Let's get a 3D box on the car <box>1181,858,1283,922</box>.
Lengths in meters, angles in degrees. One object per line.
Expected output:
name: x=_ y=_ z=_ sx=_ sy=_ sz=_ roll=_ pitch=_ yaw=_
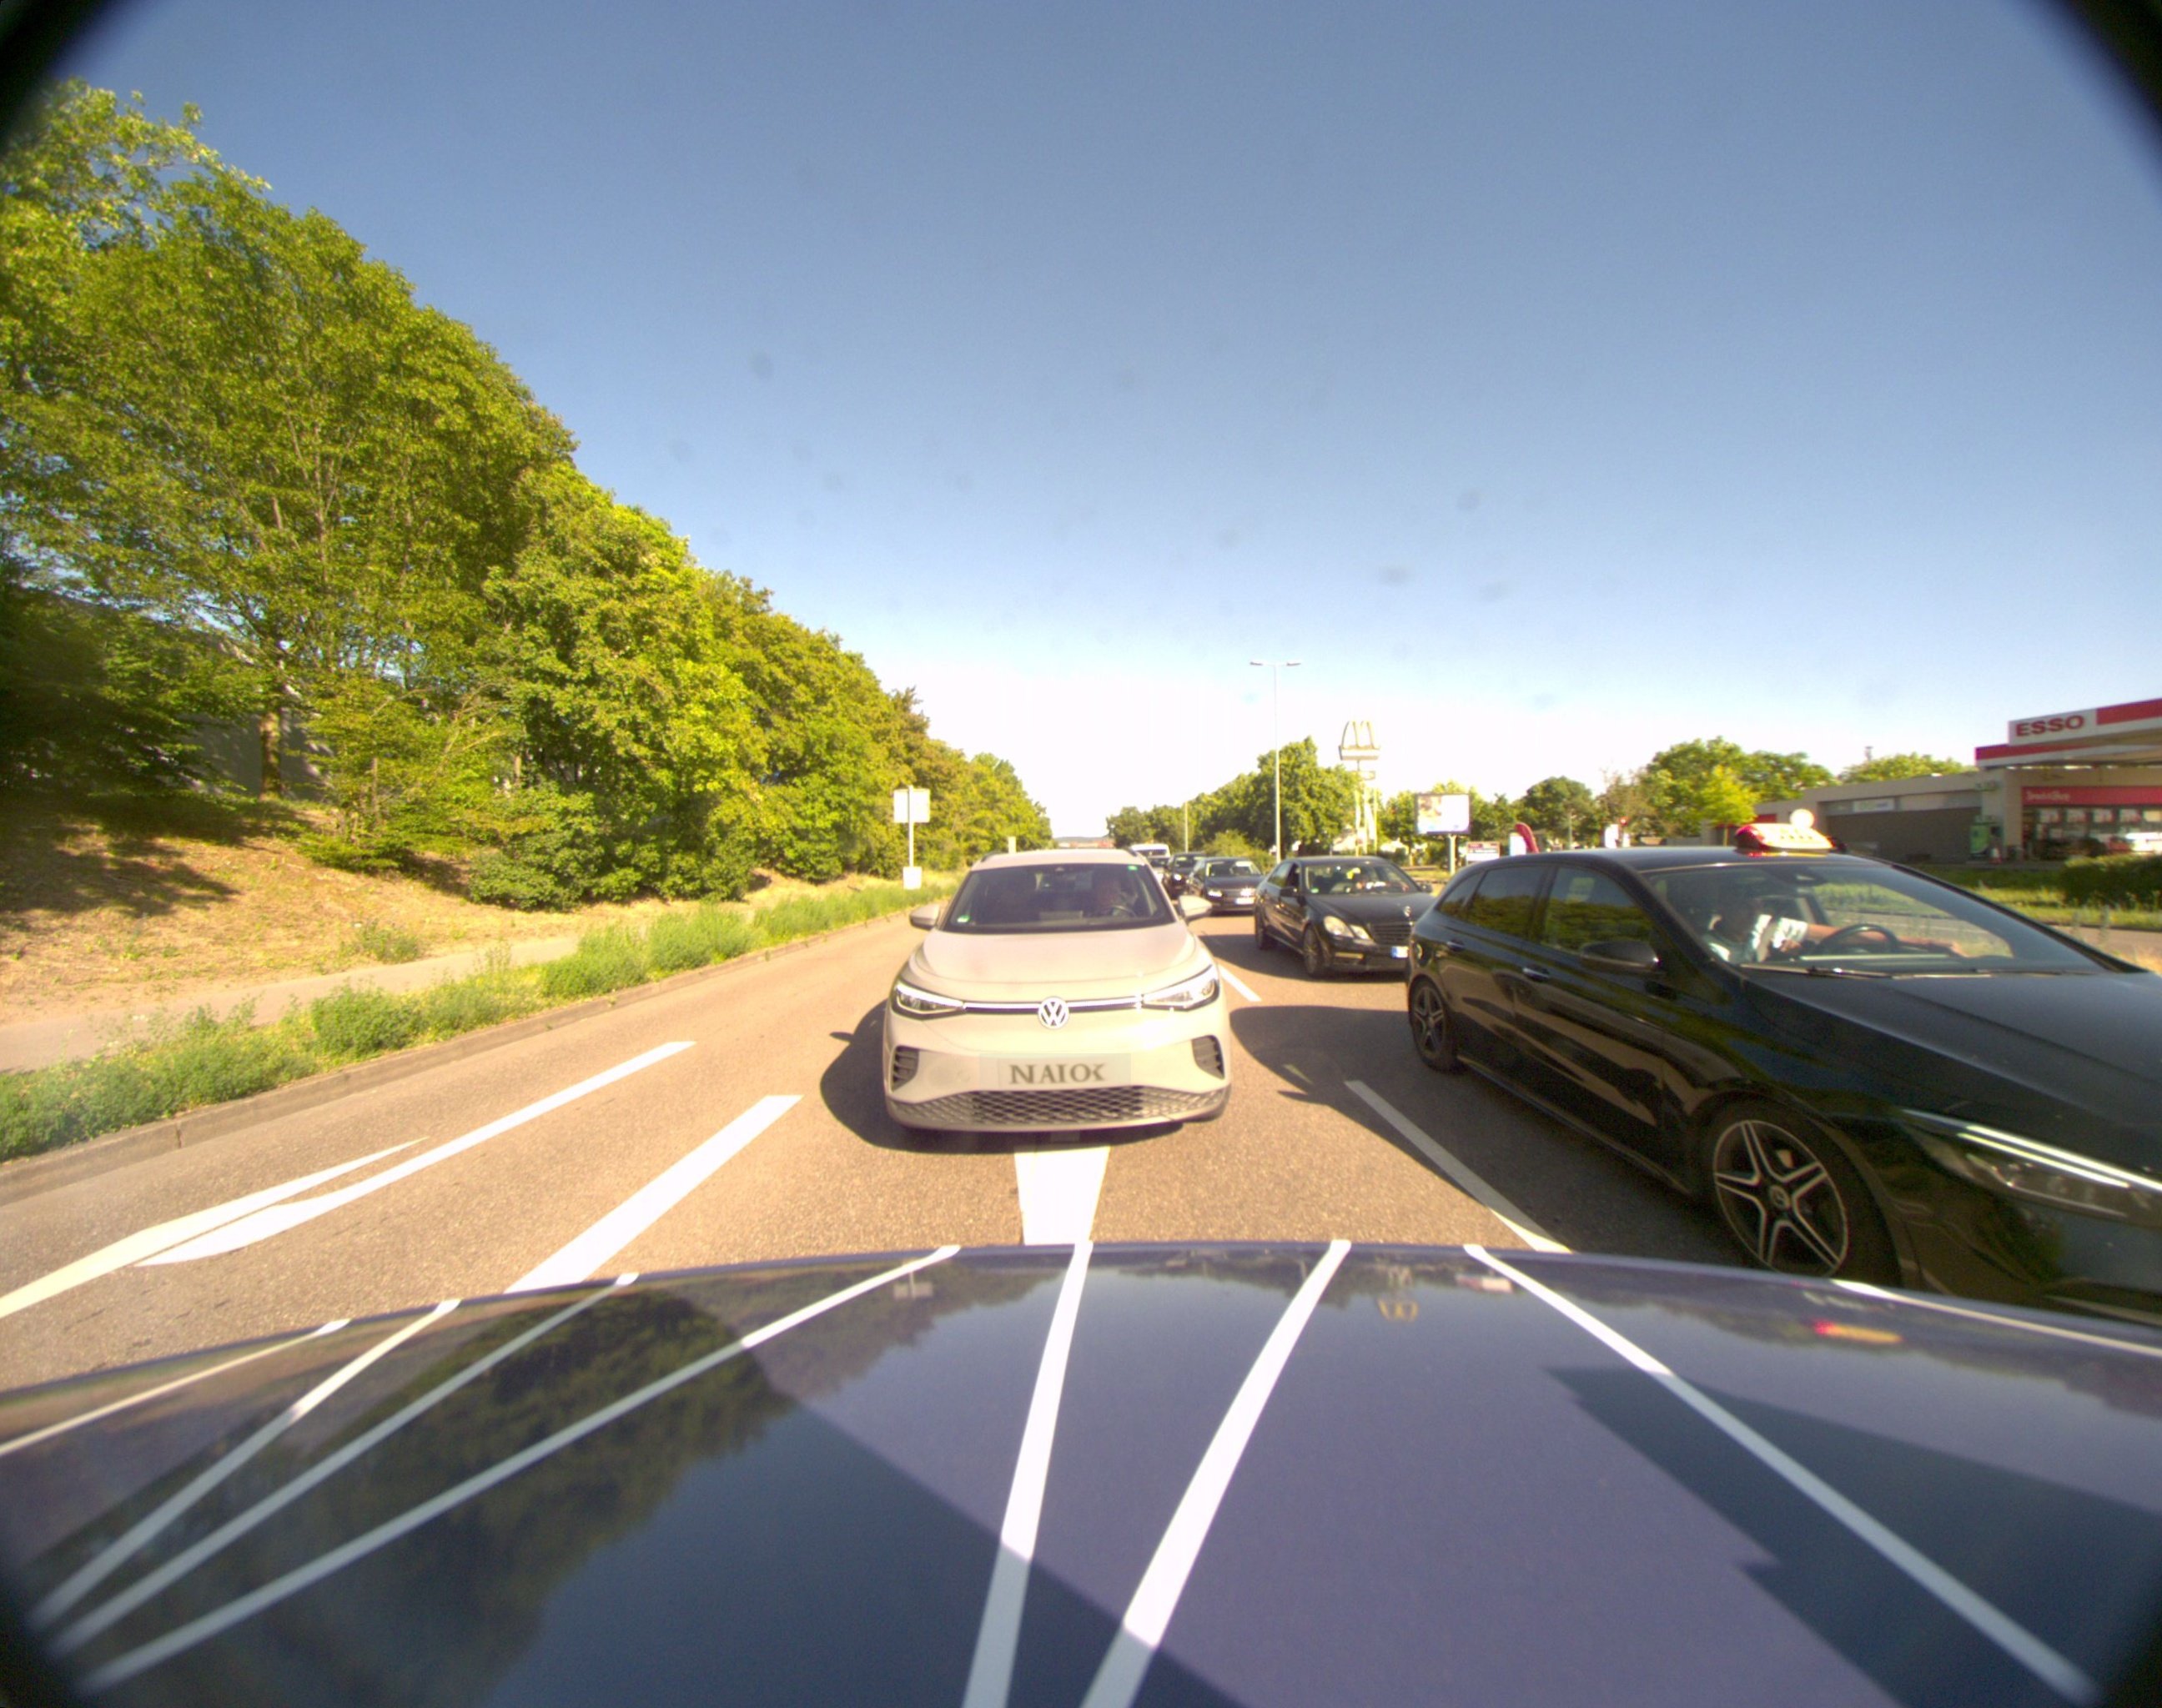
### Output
car: x=3.873 y=0.862 z=20.220 sx=1.797 sy=1.419 sz=4.287 roll=-2 pitch=0 yaw=0

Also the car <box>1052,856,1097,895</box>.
car: x=-0.257 y=0.883 z=33.037 sx=1.763 sy=1.482 sz=4.402 roll=-2 pitch=1 yaw=0

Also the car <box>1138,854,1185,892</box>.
car: x=3.573 y=0.793 z=34.169 sx=1.635 sy=1.547 sz=3.777 roll=-2 pitch=0 yaw=0

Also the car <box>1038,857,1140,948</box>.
car: x=0.136 y=0.874 z=15.763 sx=1.763 sy=1.482 sz=4.402 roll=-2 pitch=1 yaw=0

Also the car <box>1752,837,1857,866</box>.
car: x=37.686 y=-0.165 z=39.723 sx=1.682 sy=1.401 sz=3.978 roll=1 pitch=1 yaw=0

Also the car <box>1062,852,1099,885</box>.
car: x=-0.043 y=0.714 z=39.859 sx=1.763 sy=1.482 sz=4.402 roll=-2 pitch=1 yaw=0

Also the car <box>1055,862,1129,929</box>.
car: x=0.266 y=1.040 z=20.931 sx=1.763 sy=1.482 sz=4.402 roll=-2 pitch=1 yaw=0

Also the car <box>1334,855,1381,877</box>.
car: x=19.243 y=0.837 z=53.070 sx=1.763 sy=1.401 sz=3.978 roll=1 pitch=1 yaw=0

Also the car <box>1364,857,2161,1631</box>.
car: x=3.092 y=0.819 z=3.657 sx=1.763 sy=1.482 sz=4.402 roll=-2 pitch=1 yaw=0

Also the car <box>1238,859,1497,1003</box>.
car: x=3.590 y=0.852 z=10.504 sx=1.868 sy=1.430 sz=4.402 roll=-2 pitch=1 yaw=0

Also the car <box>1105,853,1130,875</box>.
car: x=2.931 y=0.818 z=62.119 sx=1.763 sy=1.607 sz=4.402 roll=-2 pitch=1 yaw=0

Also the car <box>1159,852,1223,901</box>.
car: x=3.905 y=0.758 z=27.480 sx=1.674 sy=1.607 sz=3.879 roll=-2 pitch=0 yaw=0

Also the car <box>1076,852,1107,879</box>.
car: x=0.603 y=0.692 z=47.026 sx=1.763 sy=1.482 sz=4.402 roll=-2 pitch=1 yaw=0

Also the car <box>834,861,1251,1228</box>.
car: x=-0.180 y=0.901 z=5.706 sx=1.862 sy=1.573 sz=4.403 roll=-2 pitch=0 yaw=0

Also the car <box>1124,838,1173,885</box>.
car: x=3.653 y=0.387 z=42.043 sx=2.019 sy=2.349 sz=6.523 roll=-2 pitch=0 yaw=0

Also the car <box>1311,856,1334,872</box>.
car: x=22.014 y=0.886 z=69.374 sx=1.761 sy=1.401 sz=3.983 roll=1 pitch=1 yaw=15
